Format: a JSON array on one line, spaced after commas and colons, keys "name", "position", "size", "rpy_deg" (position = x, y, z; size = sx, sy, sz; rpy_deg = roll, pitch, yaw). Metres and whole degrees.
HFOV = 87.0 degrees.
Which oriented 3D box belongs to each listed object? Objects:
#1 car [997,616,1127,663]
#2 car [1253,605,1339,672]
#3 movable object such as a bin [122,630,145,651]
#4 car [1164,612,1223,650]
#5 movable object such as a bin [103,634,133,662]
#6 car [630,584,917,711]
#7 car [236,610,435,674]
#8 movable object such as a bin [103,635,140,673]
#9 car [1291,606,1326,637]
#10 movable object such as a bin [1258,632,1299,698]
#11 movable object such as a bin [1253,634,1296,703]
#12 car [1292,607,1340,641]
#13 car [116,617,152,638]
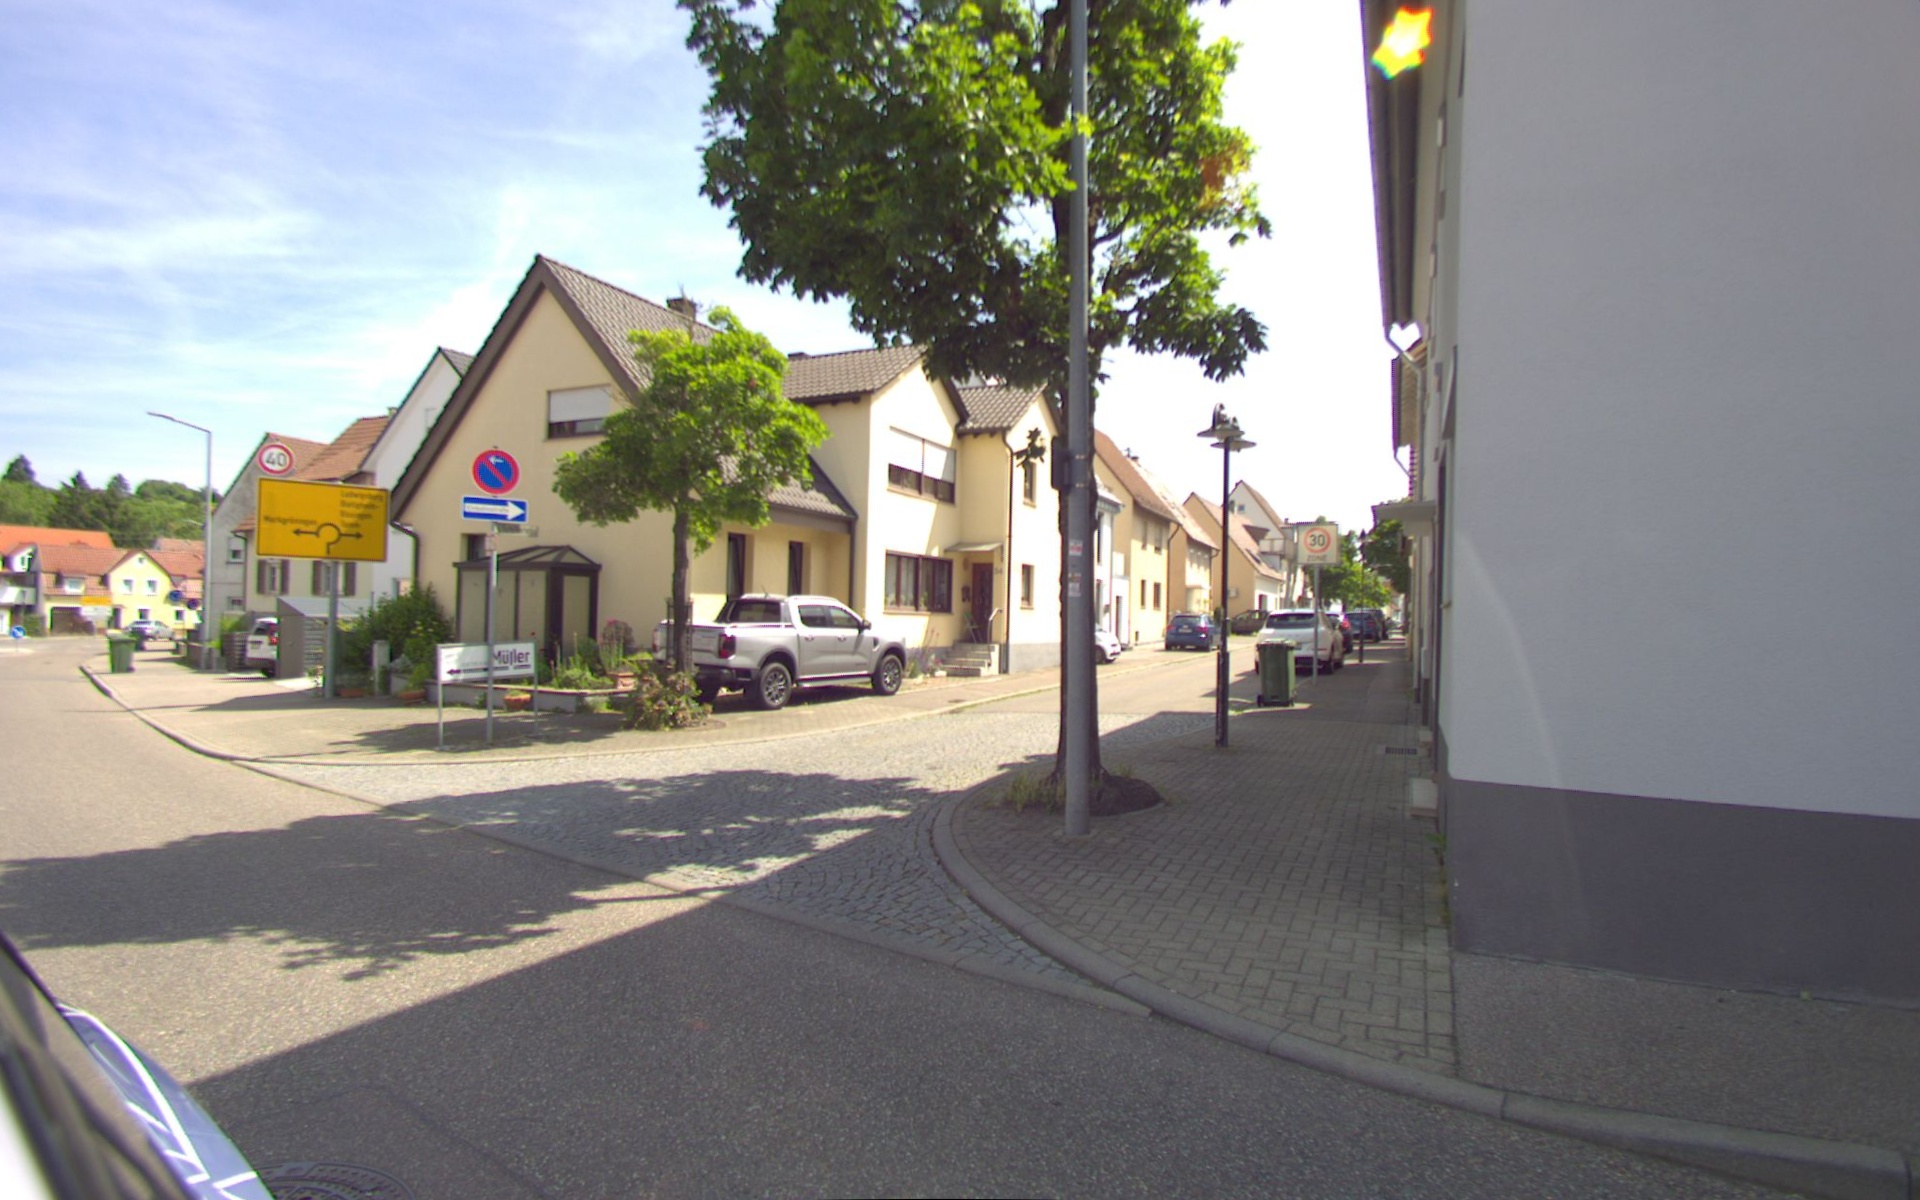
[{"name": "car", "position": [3.121, 1.176, 31.056], "size": [3.692, 1.359, 1.603], "rpy_deg": [-1, -1, 26]}, {"name": "car", "position": [8.494, 0.928, 25.408], "size": [1.778, 1.526, 3.969], "rpy_deg": [-1, -1, 23]}, {"name": "movable object such as a bin", "position": [-42.195, 2.074, 51.652], "size": [0.797, 1.053, 0.829], "rpy_deg": [1, -1, -32]}, {"name": "car", "position": [9.096, 1.187, 39.263], "size": [1.776, 1.383, 3.973], "rpy_deg": [0, -1, 20]}, {"name": "movable object such as a bin", "position": [-31.910, 1.813, 38.362], "size": [0.651, 1.065, 0.782], "rpy_deg": [-1, -2, 44]}, {"name": "car", "position": [-3.083, 0.790, 17.980], "size": [2.168, 1.911, 5.066], "rpy_deg": [-1, -2, 32]}, {"name": "car", "position": [-17.582, 1.138, 28.686], "size": [1.995, 1.635, 4.364], "rpy_deg": [0, -1, 35]}, {"name": "movable object such as a bin", "position": [-25.036, 1.595, 30.228], "size": [0.816, 1.085, 0.819], "rpy_deg": [1, -2, -42]}, {"name": "car", "position": [22.152, 1.363, 64.239], "size": [1.669, 1.888, 3.965], "rpy_deg": [-1, -1, 25]}, {"name": "movable object such as a bin", "position": [5.397, 1.093, 17.151], "size": [0.623, 1.080, 0.645], "rpy_deg": [0, -2, 21]}, {"name": "movable object such as a bin", "position": [5.135, 1.108, 16.512], "size": [0.623, 1.080, 0.645], "rpy_deg": [0, -2, 21]}, {"name": "car", "position": [16.712, 1.109, 47.424], "size": [1.779, 1.526, 3.967], "rpy_deg": [-1, -1, 24]}, {"name": "car", "position": [-60.779, 2.001, 74.553], "size": [1.930, 1.497, 4.468], "rpy_deg": [1, -2, -38]}]
